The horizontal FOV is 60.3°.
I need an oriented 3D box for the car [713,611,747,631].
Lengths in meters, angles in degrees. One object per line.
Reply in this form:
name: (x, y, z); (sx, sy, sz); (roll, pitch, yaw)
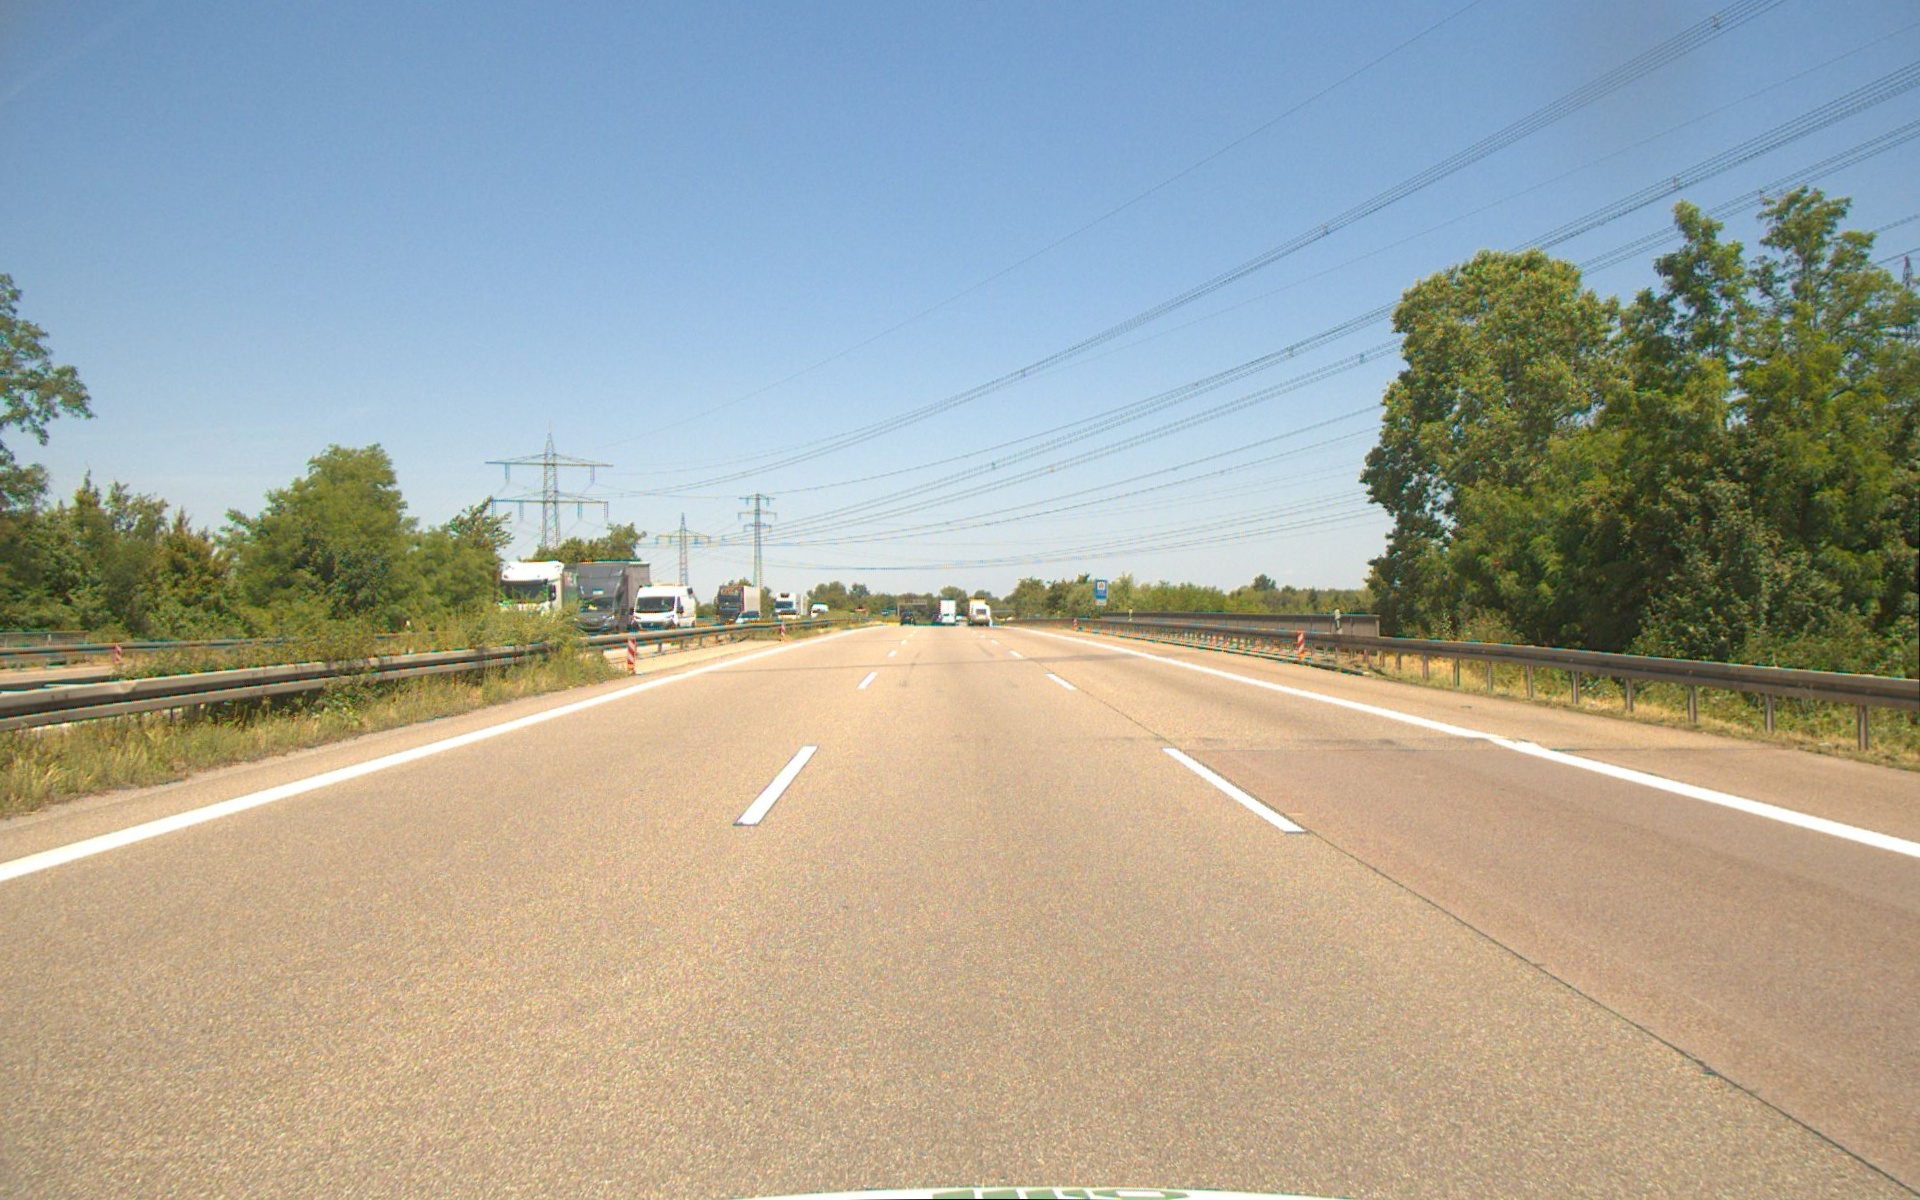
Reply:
car: (-20.453, 1.836, 147.363); (2.432, 1.665, 4.749); (-2, 0, -1)

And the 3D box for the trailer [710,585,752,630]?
trailer: (-23.059, 0.771, 167.167); (2.374, 4.365, 14.429); (1, 0, -1)

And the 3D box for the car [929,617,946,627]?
car: (-3.488, 3.395, 256.293); (1.789, 1.574, 4.322); (1, -1, 9)

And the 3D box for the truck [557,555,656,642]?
truck: (-17.250, -0.033, 81.319); (2.798, 3.987, 9.494); (1, 0, 0)

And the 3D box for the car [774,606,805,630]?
car: (-14.796, 1.568, 143.711); (2.251, 2.049, 4.556); (1, 0, -1)

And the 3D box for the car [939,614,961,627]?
car: (-1.287, 2.676, 213.799); (1.789, 1.574, 4.322); (1, -1, 14)

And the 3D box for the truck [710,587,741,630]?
truck: (-23.000, 0.839, 162.221); (2.374, 4.183, 4.919); (1, 0, -1)

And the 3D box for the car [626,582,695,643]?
car: (-13.567, 0.549, 75.244); (2.125, 2.629, 6.037); (0, 0, -1)

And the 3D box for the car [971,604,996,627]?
car: (2.436, 1.622, 172.615); (2.392, 2.362, 5.320); (-1, 0, -1)

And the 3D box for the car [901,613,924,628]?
car: (-5.339, 2.364, 188.150); (1.789, 1.574, 4.322); (1, -1, 9)

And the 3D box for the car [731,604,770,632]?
car: (-14.057, 1.205, 111.120); (2.032, 1.823, 5.107); (-1, 0, -1)

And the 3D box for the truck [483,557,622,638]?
truck: (-21.335, -0.075, 88.028); (3.178, 3.869, 17.011); (1, 0, 0)
